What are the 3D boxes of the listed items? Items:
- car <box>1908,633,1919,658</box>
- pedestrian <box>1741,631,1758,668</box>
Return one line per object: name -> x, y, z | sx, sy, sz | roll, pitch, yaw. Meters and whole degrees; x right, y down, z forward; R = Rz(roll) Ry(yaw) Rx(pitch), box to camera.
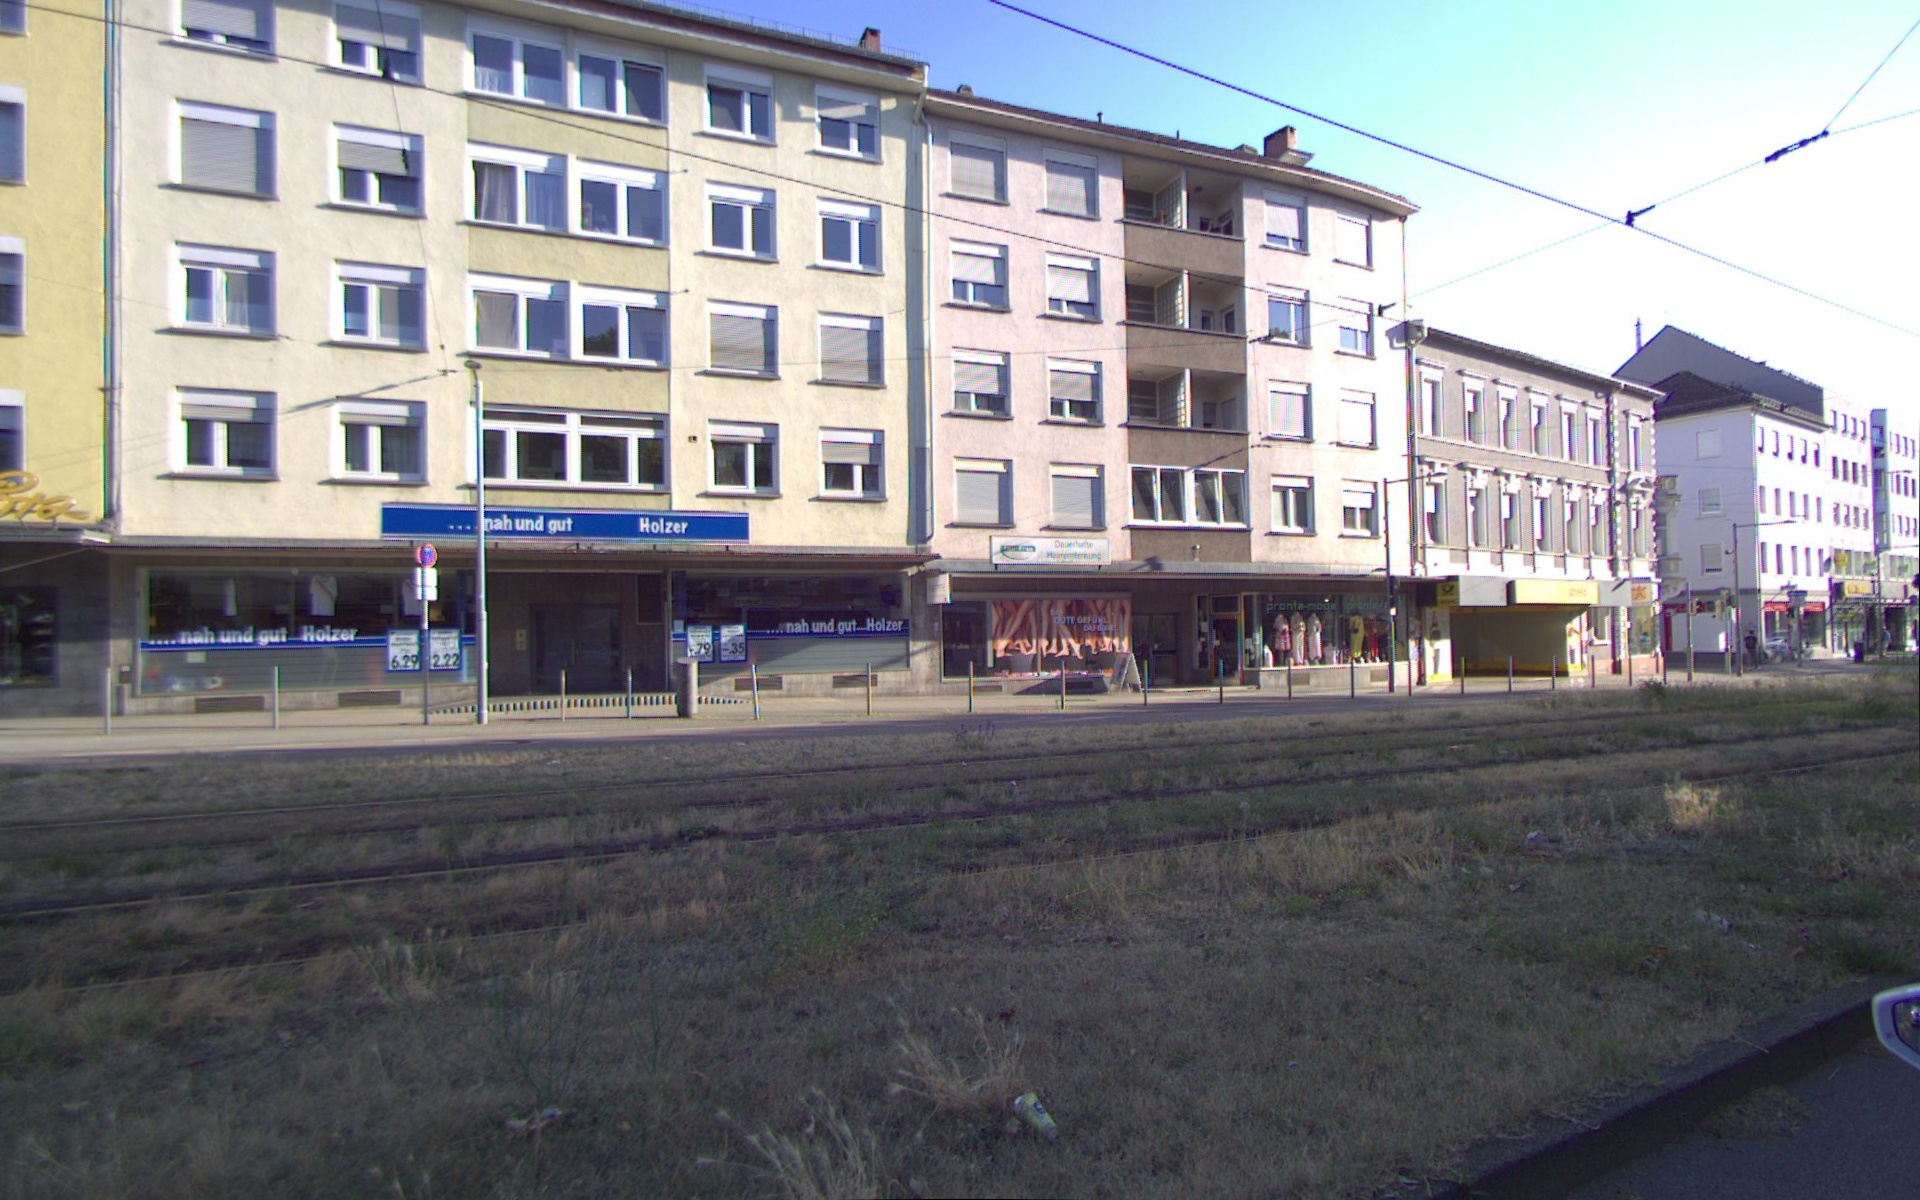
car -> 57.486, 2.582, 57.337 | 4.466, 1.431, 1.999 | -1, -2, 24
pedestrian -> 37.264, 2.314, 47.395 | 0.501, 1.736, 0.424 | 1, -2, -26
